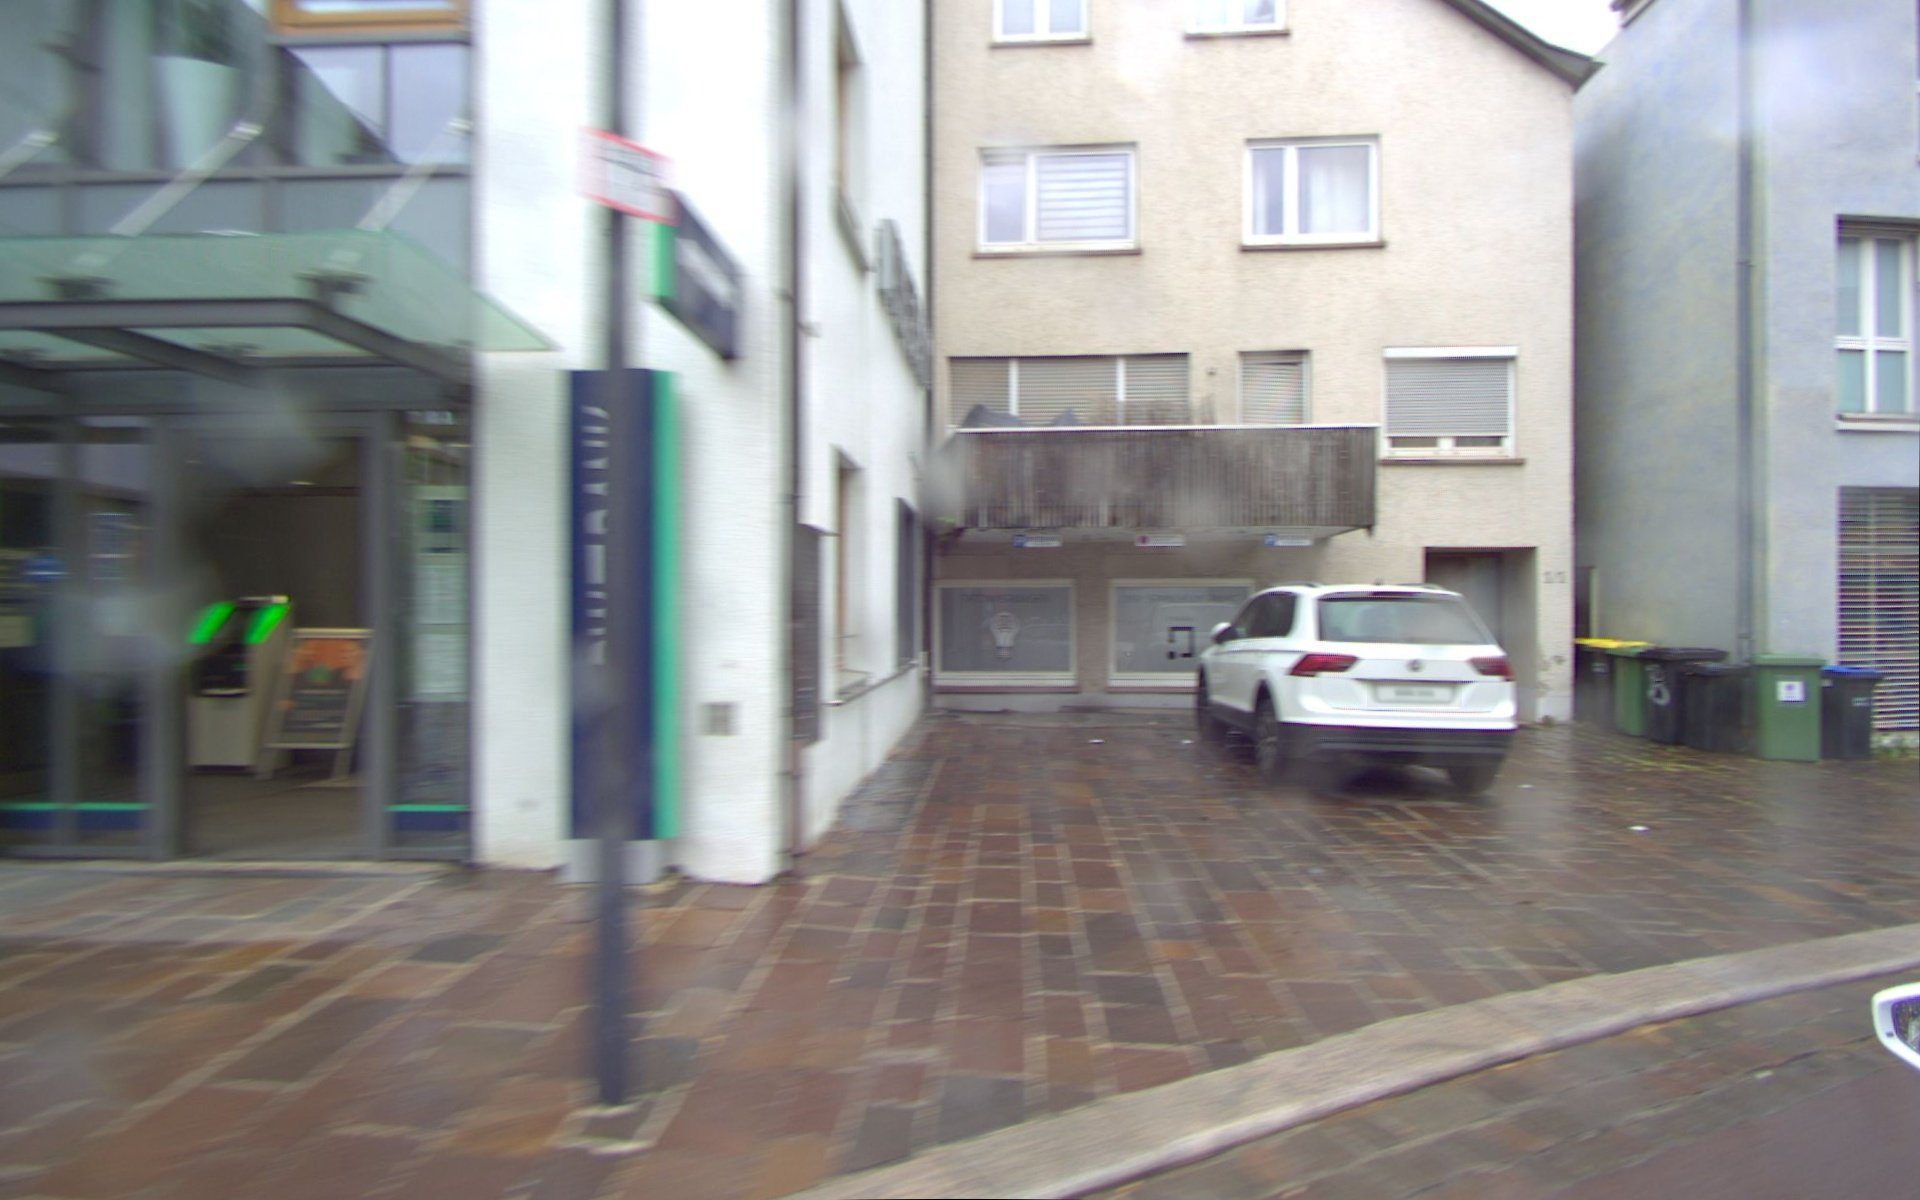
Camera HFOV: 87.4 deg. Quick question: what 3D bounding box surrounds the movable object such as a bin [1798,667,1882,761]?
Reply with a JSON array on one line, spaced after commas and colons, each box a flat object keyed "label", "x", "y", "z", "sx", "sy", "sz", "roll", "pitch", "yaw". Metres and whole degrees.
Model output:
[{"label": "movable object such as a bin", "x": 8.952, "y": 1.153, "z": 10.228, "sx": 0.442, "sy": 0.907, "sz": 0.460, "roll": 2, "pitch": -1, "yaw": -15}]

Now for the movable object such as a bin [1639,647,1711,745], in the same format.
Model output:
[{"label": "movable object such as a bin", "x": 7.965, "y": 1.056, "z": 11.202, "sx": 0.463, "sy": 1.041, "sz": 0.476, "roll": 2, "pitch": 0, "yaw": 7}]

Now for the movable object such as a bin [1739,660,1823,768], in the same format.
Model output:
[{"label": "movable object such as a bin", "x": 8.214, "y": 1.125, "z": 10.068, "sx": 0.563, "sy": 1.002, "sz": 0.487, "roll": 2, "pitch": -1, "yaw": 31}]

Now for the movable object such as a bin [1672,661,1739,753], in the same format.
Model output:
[{"label": "movable object such as a bin", "x": 7.945, "y": 1.131, "z": 10.716, "sx": 0.379, "sy": 0.927, "sz": 0.437, "roll": 2, "pitch": 0, "yaw": 6}]

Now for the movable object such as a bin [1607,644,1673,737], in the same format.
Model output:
[{"label": "movable object such as a bin", "x": 8.012, "y": 1.051, "z": 11.844, "sx": 0.463, "sy": 1.041, "sz": 0.476, "roll": 2, "pitch": 0, "yaw": 10}]

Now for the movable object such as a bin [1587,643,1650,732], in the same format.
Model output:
[{"label": "movable object such as a bin", "x": 8.095, "y": 1.069, "z": 12.364, "sx": 0.463, "sy": 1.041, "sz": 0.476, "roll": 2, "pitch": 0, "yaw": 7}]

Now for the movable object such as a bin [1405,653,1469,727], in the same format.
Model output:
[{"label": "movable object such as a bin", "x": 6.033, "y": 1.125, "z": 12.721, "sx": 0.520, "sy": 0.880, "sz": 0.543, "roll": 2, "pitch": -1, "yaw": 0}]

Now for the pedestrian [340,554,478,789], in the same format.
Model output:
[{"label": "pedestrian", "x": -4.105, "y": 0.518, "z": 7.526, "sx": 0.658, "sy": 1.689, "sz": 0.626, "roll": 0, "pitch": -1, "yaw": 2}]

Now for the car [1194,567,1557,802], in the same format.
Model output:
[{"label": "car", "x": 3.426, "y": 0.631, "z": 9.168, "sx": 1.796, "sy": 1.604, "sz": 4.000, "roll": 2, "pitch": -1, "yaw": 3}]
